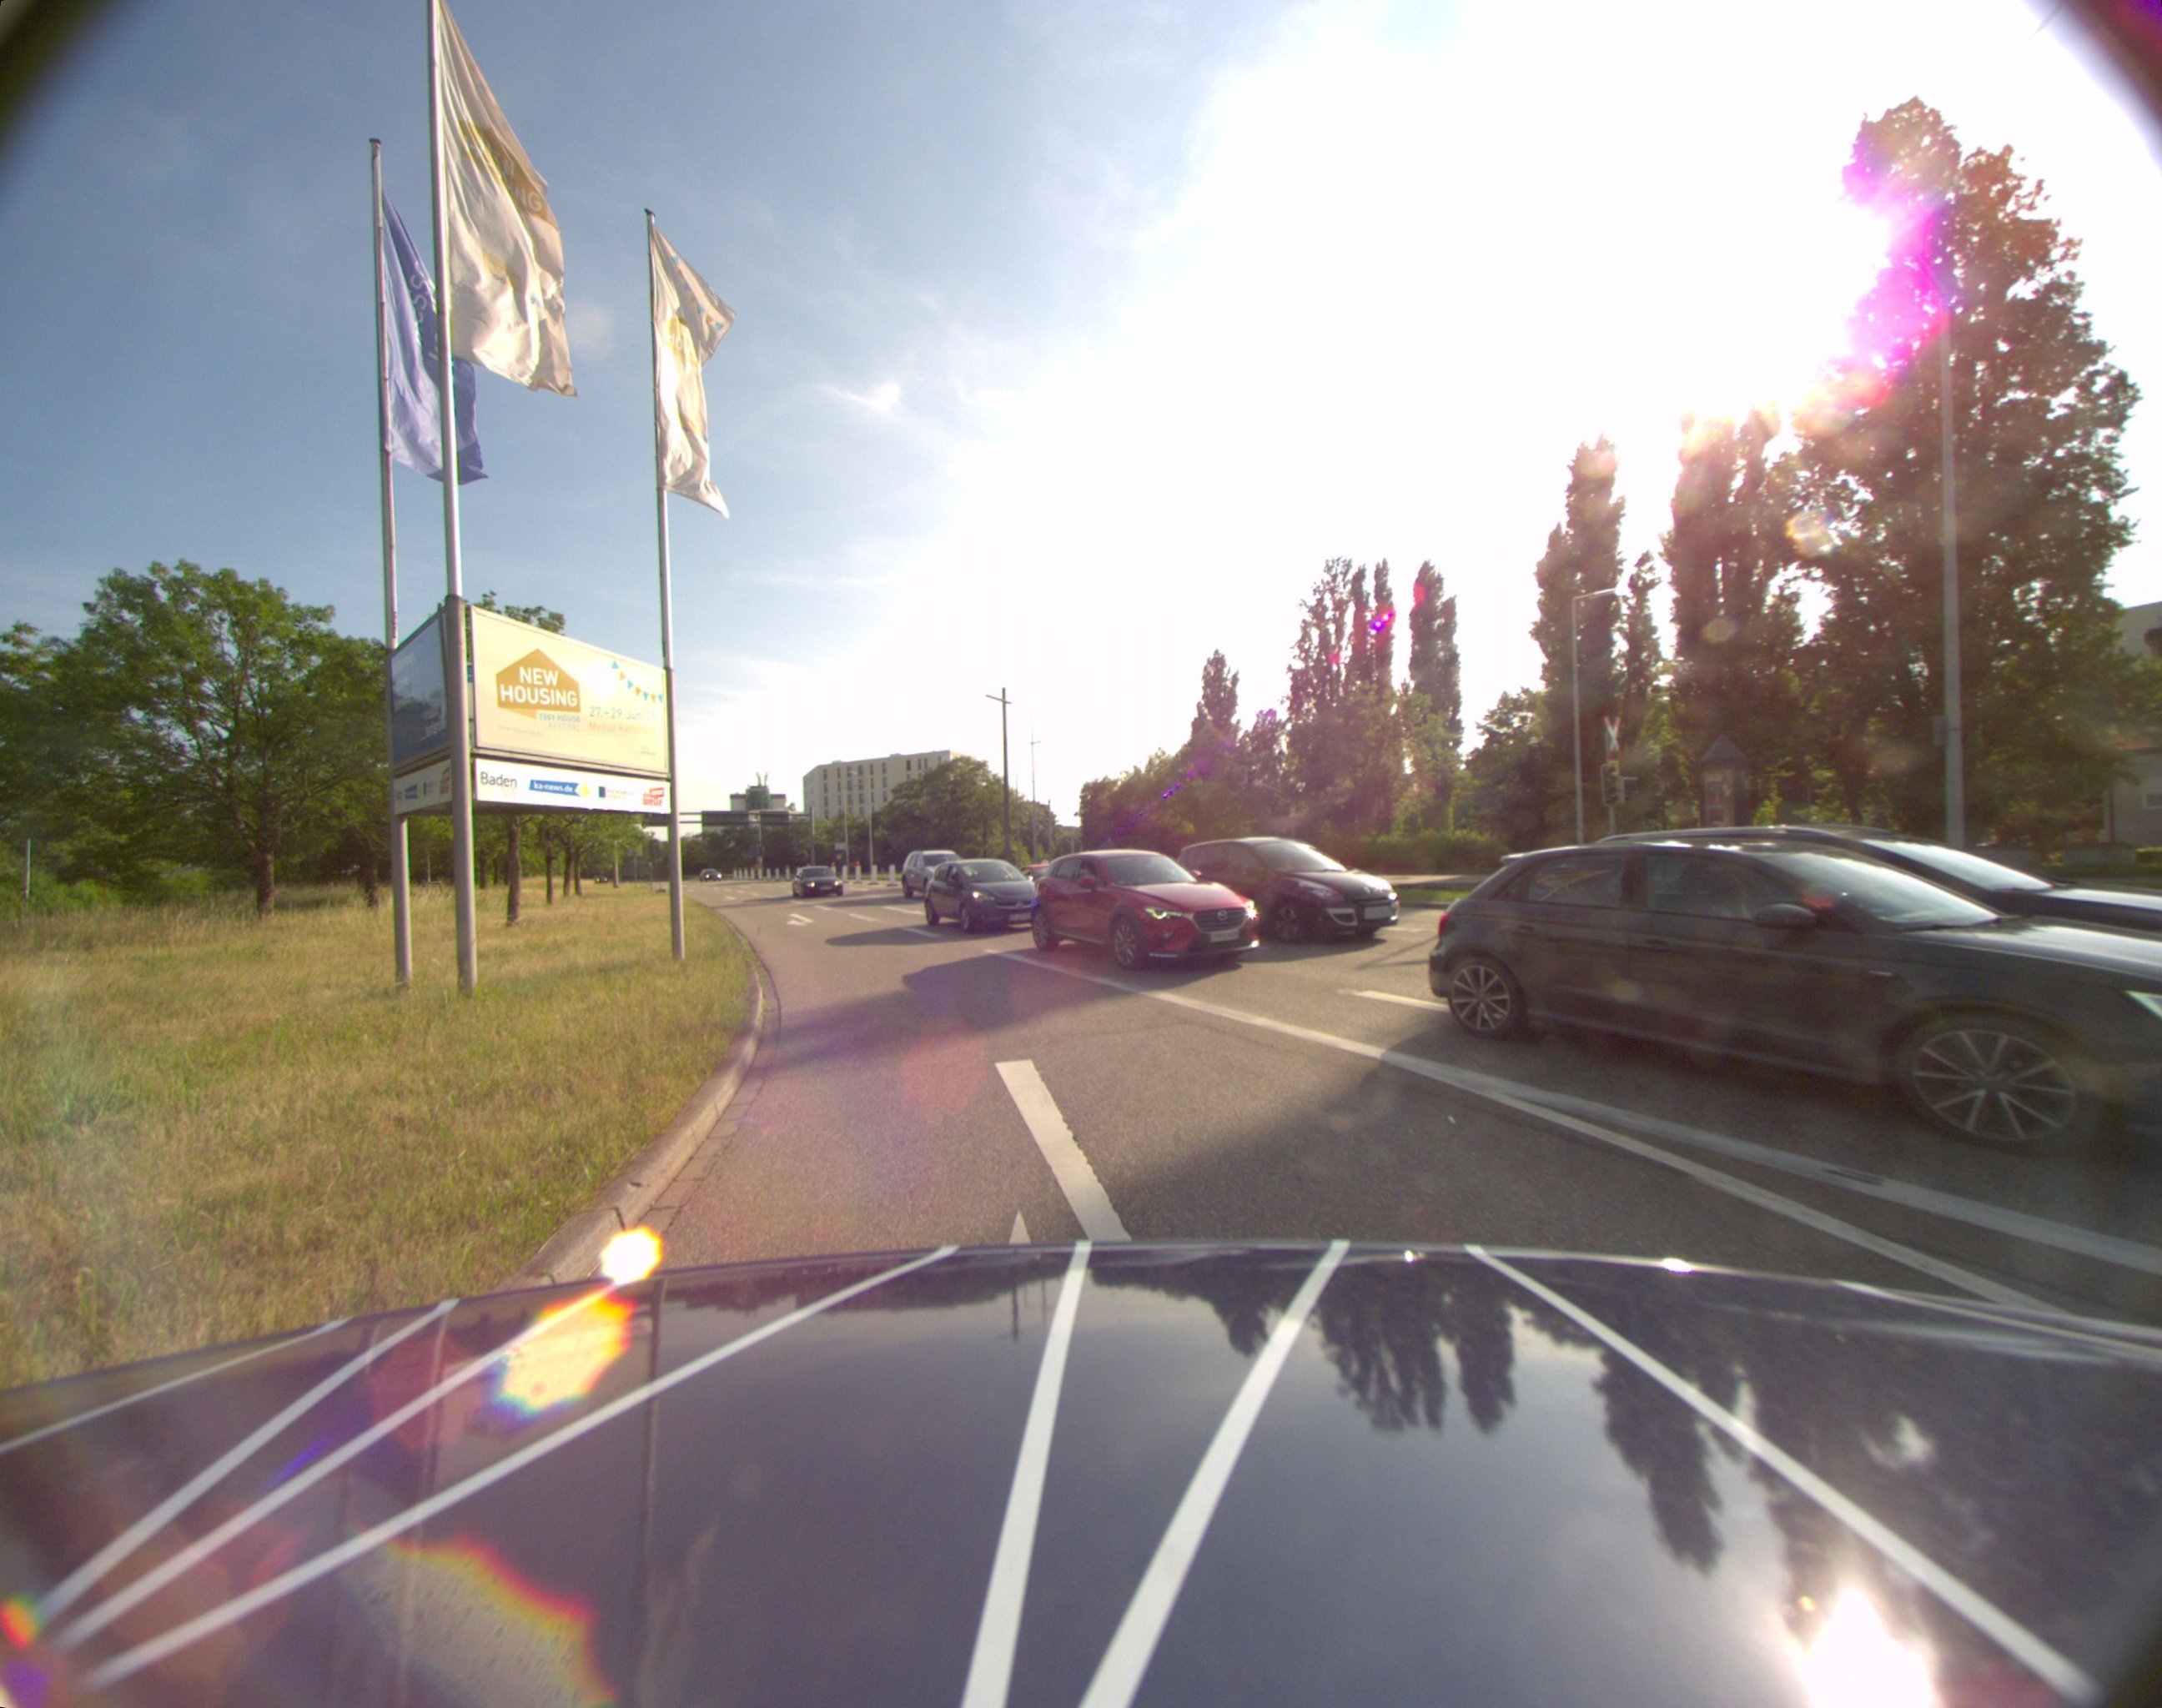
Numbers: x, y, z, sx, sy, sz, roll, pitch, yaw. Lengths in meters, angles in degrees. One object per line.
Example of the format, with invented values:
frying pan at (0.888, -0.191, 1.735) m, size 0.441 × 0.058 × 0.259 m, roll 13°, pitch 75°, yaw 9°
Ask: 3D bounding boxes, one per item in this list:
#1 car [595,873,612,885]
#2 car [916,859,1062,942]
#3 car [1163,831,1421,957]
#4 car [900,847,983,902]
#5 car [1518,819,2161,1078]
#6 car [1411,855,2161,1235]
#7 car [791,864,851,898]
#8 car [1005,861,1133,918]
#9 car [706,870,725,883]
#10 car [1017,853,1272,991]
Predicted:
car at (-85.678, 4.400, 136.338) m, size 1.865 × 2.002 × 4.166 m, roll -5°, pitch 2°, yaw -41°
car at (-2.137, 0.916, 16.470) m, size 1.749 × 1.496 × 4.214 m, roll -2°, pitch 0°, yaw -27°
car at (3.256, 0.567, 12.584) m, size 1.771 × 1.661 × 4.075 m, roll -3°, pitch 0°, yaw -27°
car at (-5.435, 0.744, 29.095) m, size 1.905 × 1.813 × 4.347 m, roll -4°, pitch 1°, yaw -26°
car at (6.391, 0.557, 6.356) m, size 1.707 × 1.499 × 4.544 m, roll -3°, pitch 0°, yaw -25°
car at (4.149, 0.737, 4.554) m, size 1.649 × 1.389 × 3.819 m, roll -2°, pitch 0°, yaw -25°
car at (-12.270, 1.212, 35.685) m, size 1.905 × 1.377 × 4.346 m, roll -4°, pitch 1°, yaw -28°
car at (-0.427, 0.862, 19.671) m, size 1.739 × 1.199 × 3.839 m, roll -4°, pitch 1°, yaw -27°
car at (-43.290, 2.646, 89.914) m, size 1.899 × 1.447 × 3.901 m, roll -2°, pitch 0°, yaw -28°
car at (0.682, 0.807, 10.861) m, size 1.714 × 1.542 × 3.969 m, roll -2°, pitch 0°, yaw -28°
